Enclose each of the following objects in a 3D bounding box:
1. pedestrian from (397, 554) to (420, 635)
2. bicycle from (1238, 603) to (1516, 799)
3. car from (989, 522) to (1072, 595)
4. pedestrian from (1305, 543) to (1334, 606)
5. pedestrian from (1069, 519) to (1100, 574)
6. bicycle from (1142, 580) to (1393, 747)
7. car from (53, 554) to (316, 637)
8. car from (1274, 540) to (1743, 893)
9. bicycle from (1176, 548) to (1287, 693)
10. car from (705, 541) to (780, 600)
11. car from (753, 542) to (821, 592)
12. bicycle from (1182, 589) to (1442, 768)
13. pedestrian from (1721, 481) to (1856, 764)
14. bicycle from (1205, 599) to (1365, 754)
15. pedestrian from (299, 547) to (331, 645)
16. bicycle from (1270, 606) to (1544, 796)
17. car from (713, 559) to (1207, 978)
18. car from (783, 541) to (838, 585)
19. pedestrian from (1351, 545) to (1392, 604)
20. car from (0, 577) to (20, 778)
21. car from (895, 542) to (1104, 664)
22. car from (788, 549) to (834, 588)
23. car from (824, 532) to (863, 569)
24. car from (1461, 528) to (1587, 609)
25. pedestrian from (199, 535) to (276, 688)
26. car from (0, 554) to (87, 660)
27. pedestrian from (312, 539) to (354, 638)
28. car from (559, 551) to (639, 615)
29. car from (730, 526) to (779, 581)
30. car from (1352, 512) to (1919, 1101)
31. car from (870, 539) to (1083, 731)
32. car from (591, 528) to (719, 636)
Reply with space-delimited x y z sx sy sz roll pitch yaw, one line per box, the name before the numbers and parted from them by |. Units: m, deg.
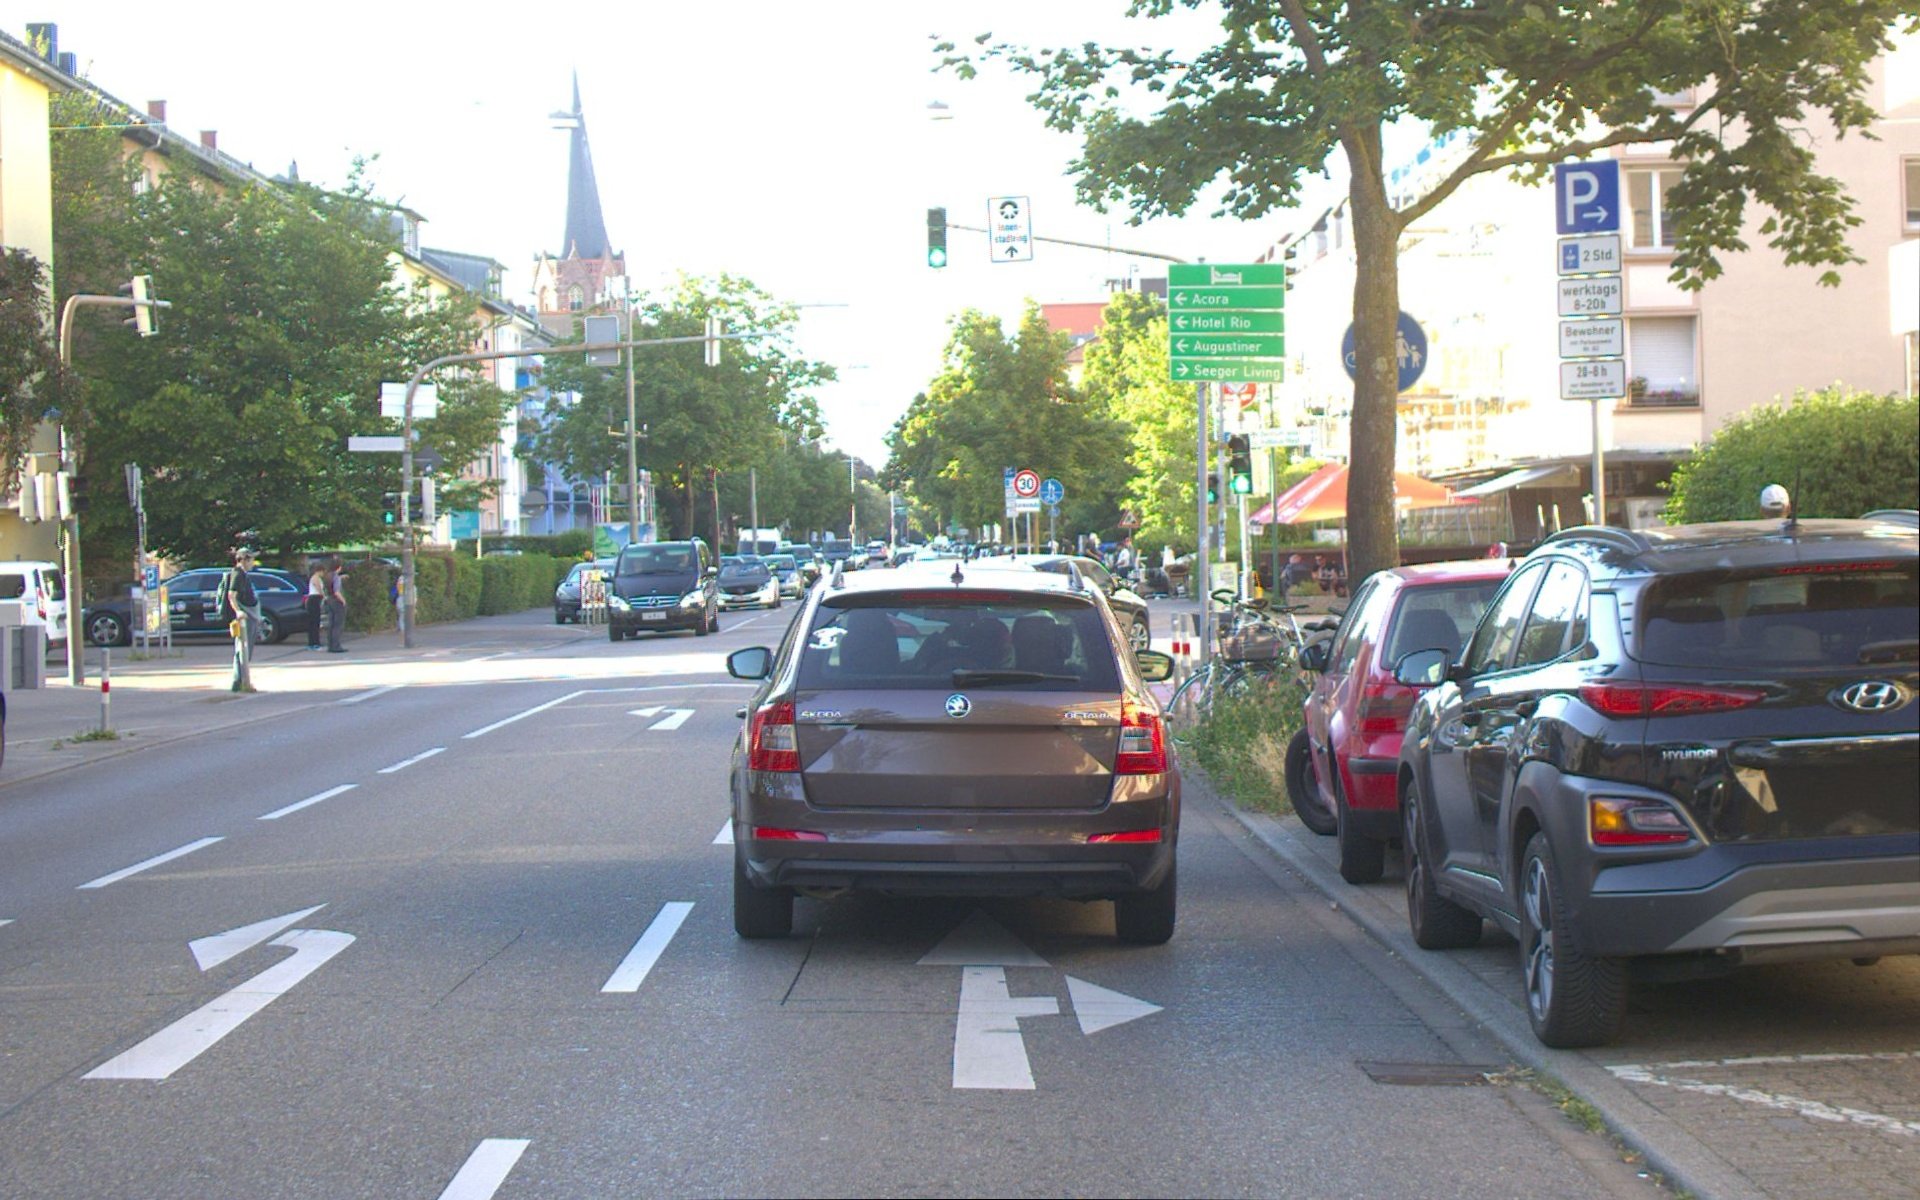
pedestrian | -10.347 -0.112 64.519 0.301 1.499 0.640 -1 1 0
bicycle | 2.450 0.590 20.241 1.570 1.100 0.392 -1 1 1
car | 1.799 -1.059 86.424 1.994 1.766 4.000 1 1 2
pedestrian | 7.535 -0.541 72.133 0.499 1.298 0.507 -1 1 -3
pedestrian | 3.915 -1.686 108.216 0.675 1.698 0.800 -1 1 26
bicycle | 2.374 0.487 26.532 1.835 1.153 0.683 -4 1 6
car | -14.858 -0.098 66.044 4.634 1.530 1.862 0 1 -1
car | 2.552 0.469 16.859 1.703 1.445 4.013 -3 1 2
bicycle | 2.261 0.161 28.831 0.501 1.143 1.959 -4 1 -6
car | -6.048 -0.832 95.885 1.830 1.574 4.000 -2 1 0
car | -5.719 -1.102 113.916 1.993 1.605 4.000 -1 1 0
bicycle | 2.412 0.534 23.572 1.687 1.104 0.517 -4 1 6
pedestrian | 5.272 0.135 21.904 0.663 1.743 0.772 -3 1 6
bicycle | 2.364 0.535 24.861 0.619 1.048 1.571 -1 1 26
pedestrian | -11.912 -0.075 63.502 0.449 1.791 0.504 -2 1 0
bicycle | 2.696 0.605 20.810 1.570 1.100 0.501 -1 1 1
car | -0.039 0.578 14.495 1.773 1.484 4.311 0 1 -1
car | -5.475 -1.373 126.212 1.787 1.565 4.000 1 1 0
pedestrian | 8.530 -0.532 71.321 0.729 1.194 0.855 -1 1 0
car | -8.043 0.610 24.401 1.648 1.512 4.074 0 1 0
car | 0.595 0.011 47.191 1.801 1.546 3.997 -1 1 17
car | -6.188 -1.334 143.038 1.704 1.545 4.002 -1 1 0
car | -6.416 -2.743 190.407 1.993 2.007 4.000 -1 1 0
car | 10.845 -0.621 66.330 1.776 1.481 4.000 -1 1 0
pedestrian | -9.526 0.139 45.354 0.780 1.981 0.821 -2 1 0
car | -17.837 0.154 60.094 4.634 1.805 1.862 -1 1 -1
pedestrian | -11.509 -0.219 63.103 0.616 1.791 0.504 -2 1 0
car | -8.609 -0.429 82.146 1.522 1.452 3.585 -1 1 0
car | -9.478 -2.147 158.703 1.993 2.469 4.000 -1 1 -1
car | 2.546 0.531 11.591 1.855 1.576 4.014 -3 1 -1
car | 0.142 0.256 30.291 1.737 1.565 4.000 1 1 0
car | -5.836 -0.376 66.310 1.993 1.902 4.964 -3 1 -1
